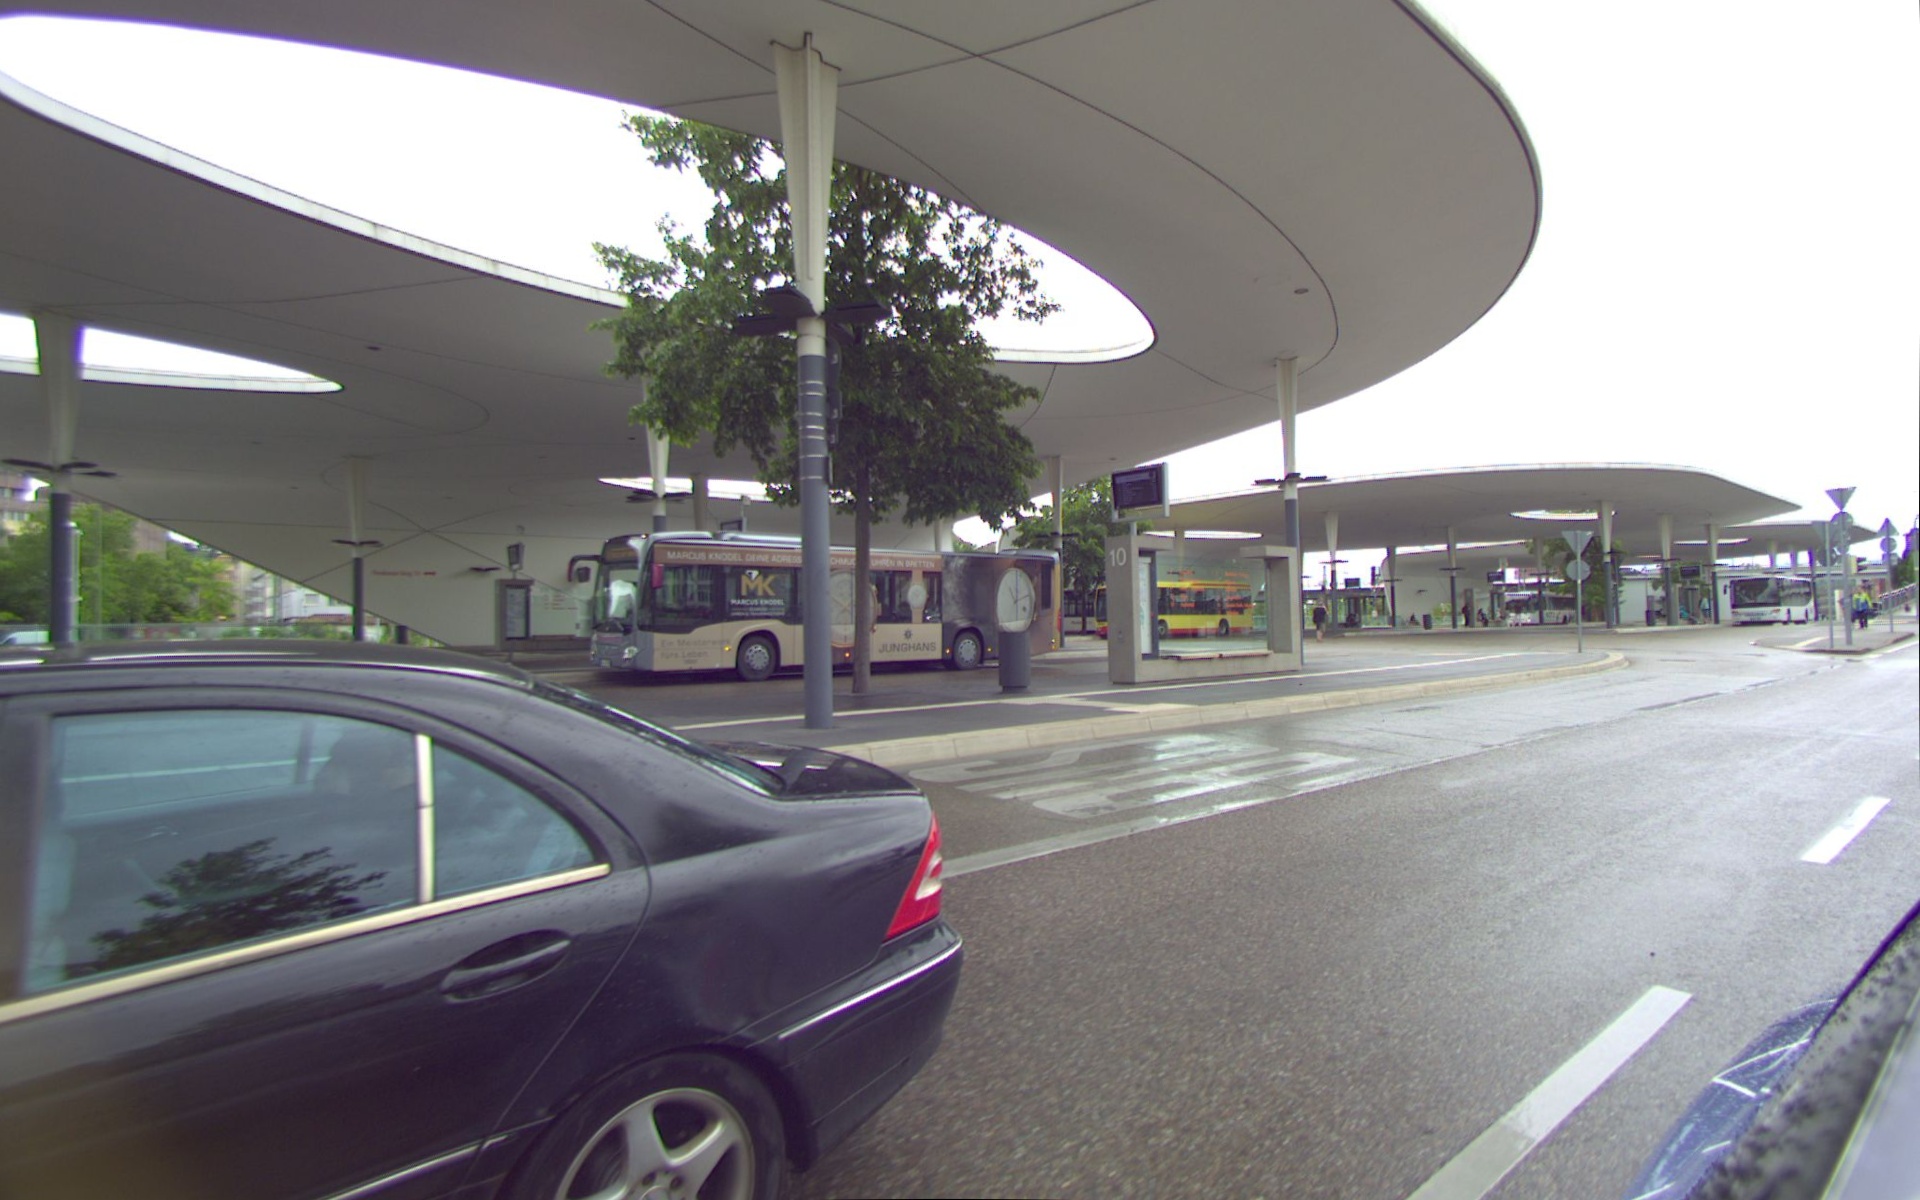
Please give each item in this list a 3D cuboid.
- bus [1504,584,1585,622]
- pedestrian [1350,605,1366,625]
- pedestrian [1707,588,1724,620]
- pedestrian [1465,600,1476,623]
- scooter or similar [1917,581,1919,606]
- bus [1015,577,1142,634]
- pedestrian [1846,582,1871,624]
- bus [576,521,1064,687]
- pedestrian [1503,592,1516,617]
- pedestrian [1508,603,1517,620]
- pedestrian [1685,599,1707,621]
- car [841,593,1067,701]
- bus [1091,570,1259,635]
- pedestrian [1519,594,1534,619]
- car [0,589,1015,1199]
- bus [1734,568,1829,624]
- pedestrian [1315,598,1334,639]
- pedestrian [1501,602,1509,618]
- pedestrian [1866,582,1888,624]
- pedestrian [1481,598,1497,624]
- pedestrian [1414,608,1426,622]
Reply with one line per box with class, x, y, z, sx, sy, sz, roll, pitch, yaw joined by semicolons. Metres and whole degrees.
bus;54.008;0.230;93.309;11.931;3.299;2.792;-1;-1;-42
pedestrian;29.274;1.090;74.429;0.786;1.341;0.711;-5;-2;-33
pedestrian;46.228;0.224;61.930;0.636;1.911;0.587;2;-1;-31
pedestrian;33.066;0.737;65.571;0.513;1.521;0.381;-1;-1;9
scooter or similar;49.021;-0.342;51.386;1.827;1.236;0.464;-1;-1;-42
bus;7.868;0.323;65.906;9.690;3.443;2.517;-1;-1;-43
pedestrian;37.606;0.120;42.347;0.571;1.691;0.590;-5;-1;-41
bus;-2.602;0.058;23.819;11.878;3.082;2.726;0;0;-41
pedestrian;37.562;0.323;69.209;0.546;1.675;0.570;0;-1;-35
pedestrian;37.032;0.752;67.780;0.357;1.160;0.396;-1;-1;1
pedestrian;45.289;0.618;62.293;0.943;1.271;0.643;2;-1;26
car;-0.040;0.659;15.448;3.182;1.472;1.648;0;-2;-43
bus;12.242;0.071;56.404;11.936;3.299;2.791;-1;-1;-43
pedestrian;38.882;0.465;69.458;0.632;1.675;0.638;-1;-1;9
car;-2.002;0.715;1.730;4.229;1.481;1.700;2;-1;-42
bus;53.815;-0.281;66.127;12.210;3.404;2.849;0;1;-42
pedestrian;15.819;0.791;43.905;0.711;1.705;1.013;0;0;23
pedestrian;36.596;0.671;67.968;0.345;1.095;0.392;-1;-1;0
pedestrian;37.935;0.129;41.850;0.571;1.691;0.523;-4;0;-41
pedestrian;34.807;0.706;66.559;0.667;1.609;0.588;-4;-2;-45
pedestrian;47.930;1.570;105.475;0.698;1.341;0.801;-4;-2;-36
